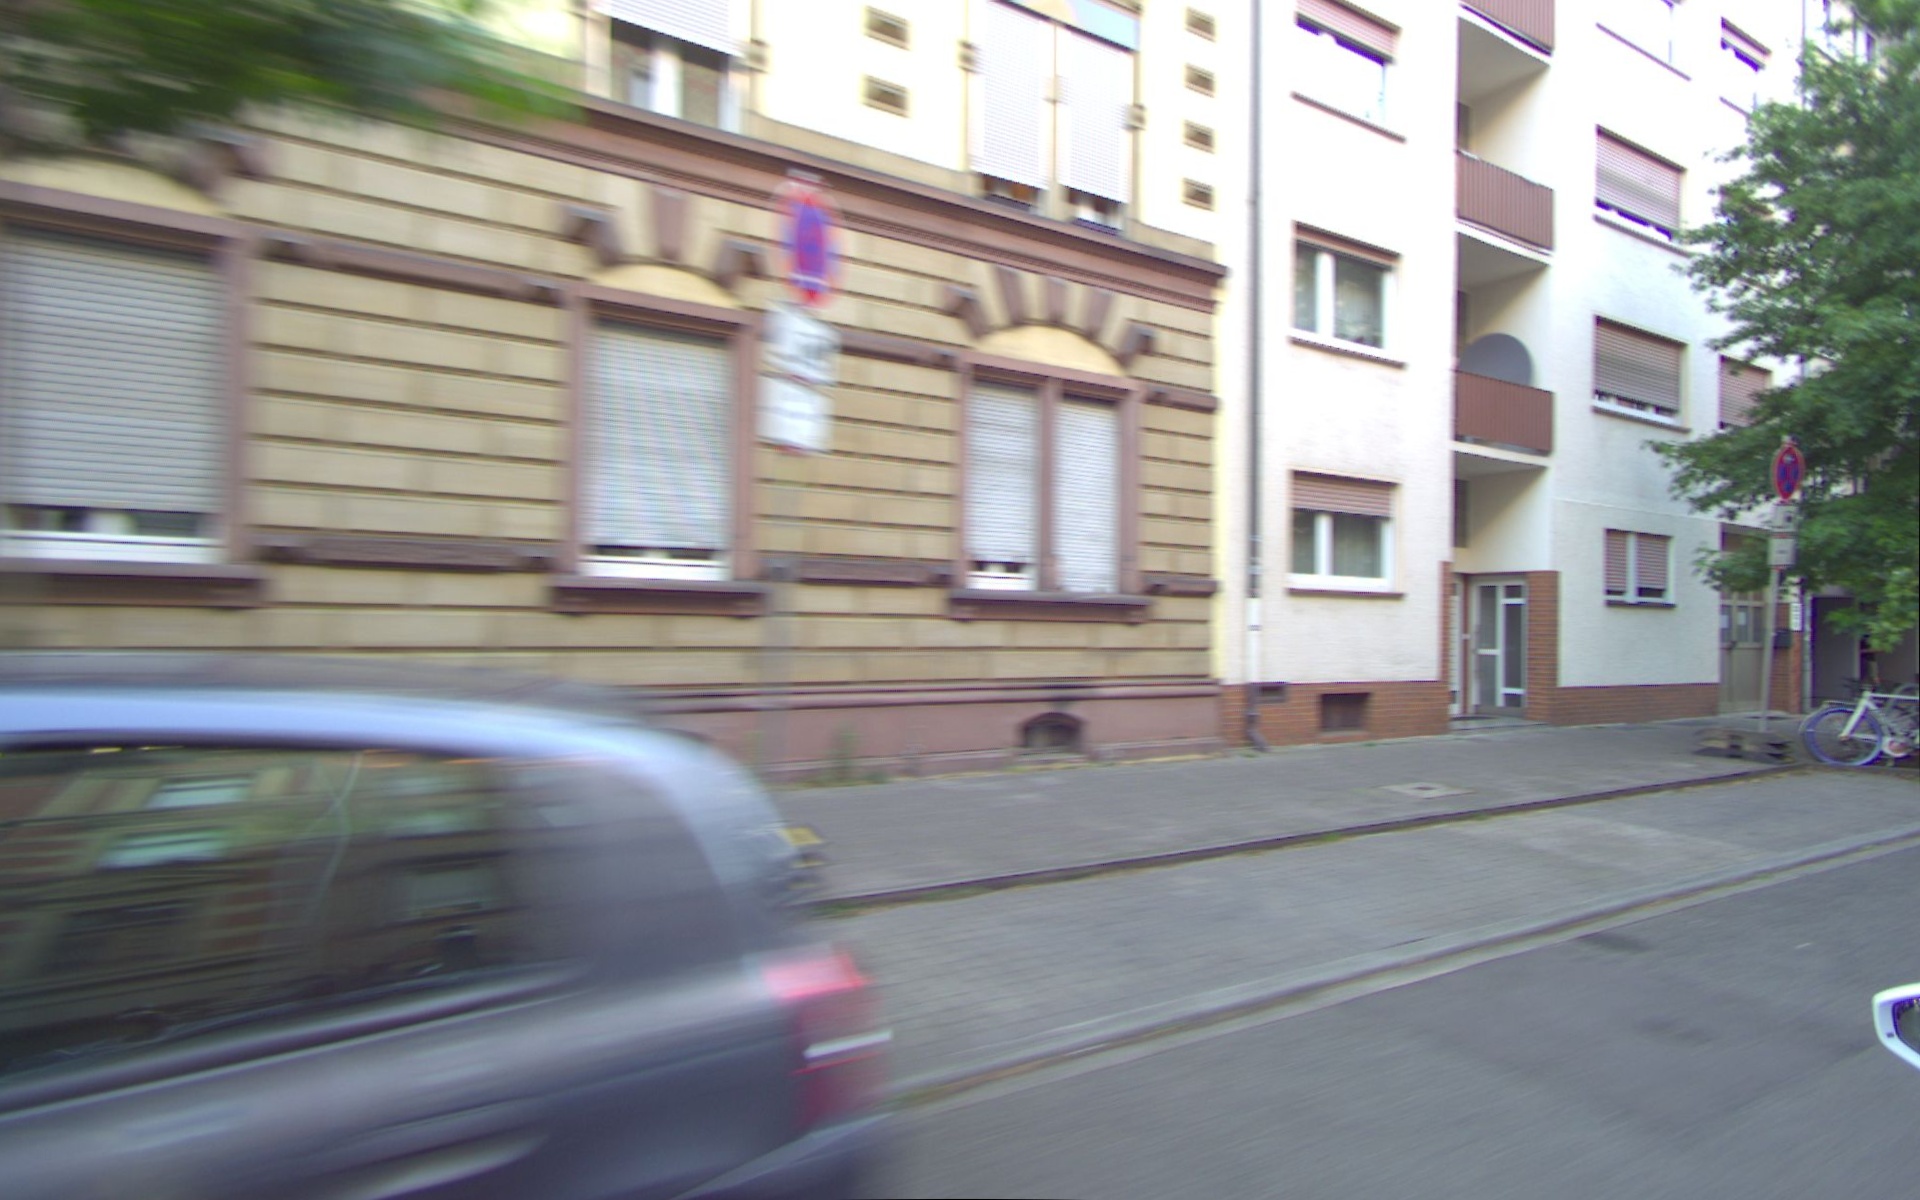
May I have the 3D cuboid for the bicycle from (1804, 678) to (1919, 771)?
[{"bbox_3d":[10.281,1.361,10.888,1.674,0.919,0.383,1,-1,31],"label":"bicycle"}]

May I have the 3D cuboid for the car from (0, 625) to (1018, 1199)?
[{"bbox_3d":[-1.878,0.755,1.537,3.710,1.438,1.572,2,-2,-31],"label":"car"}]

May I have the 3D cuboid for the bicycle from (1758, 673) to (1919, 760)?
[{"bbox_3d":[10.560,1.370,11.943,1.635,0.910,0.383,1,-1,31],"label":"bicycle"}]

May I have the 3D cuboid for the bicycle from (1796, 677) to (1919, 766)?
[{"bbox_3d":[10.513,1.375,11.284,1.674,0.910,0.383,1,-1,31],"label":"bicycle"}]
